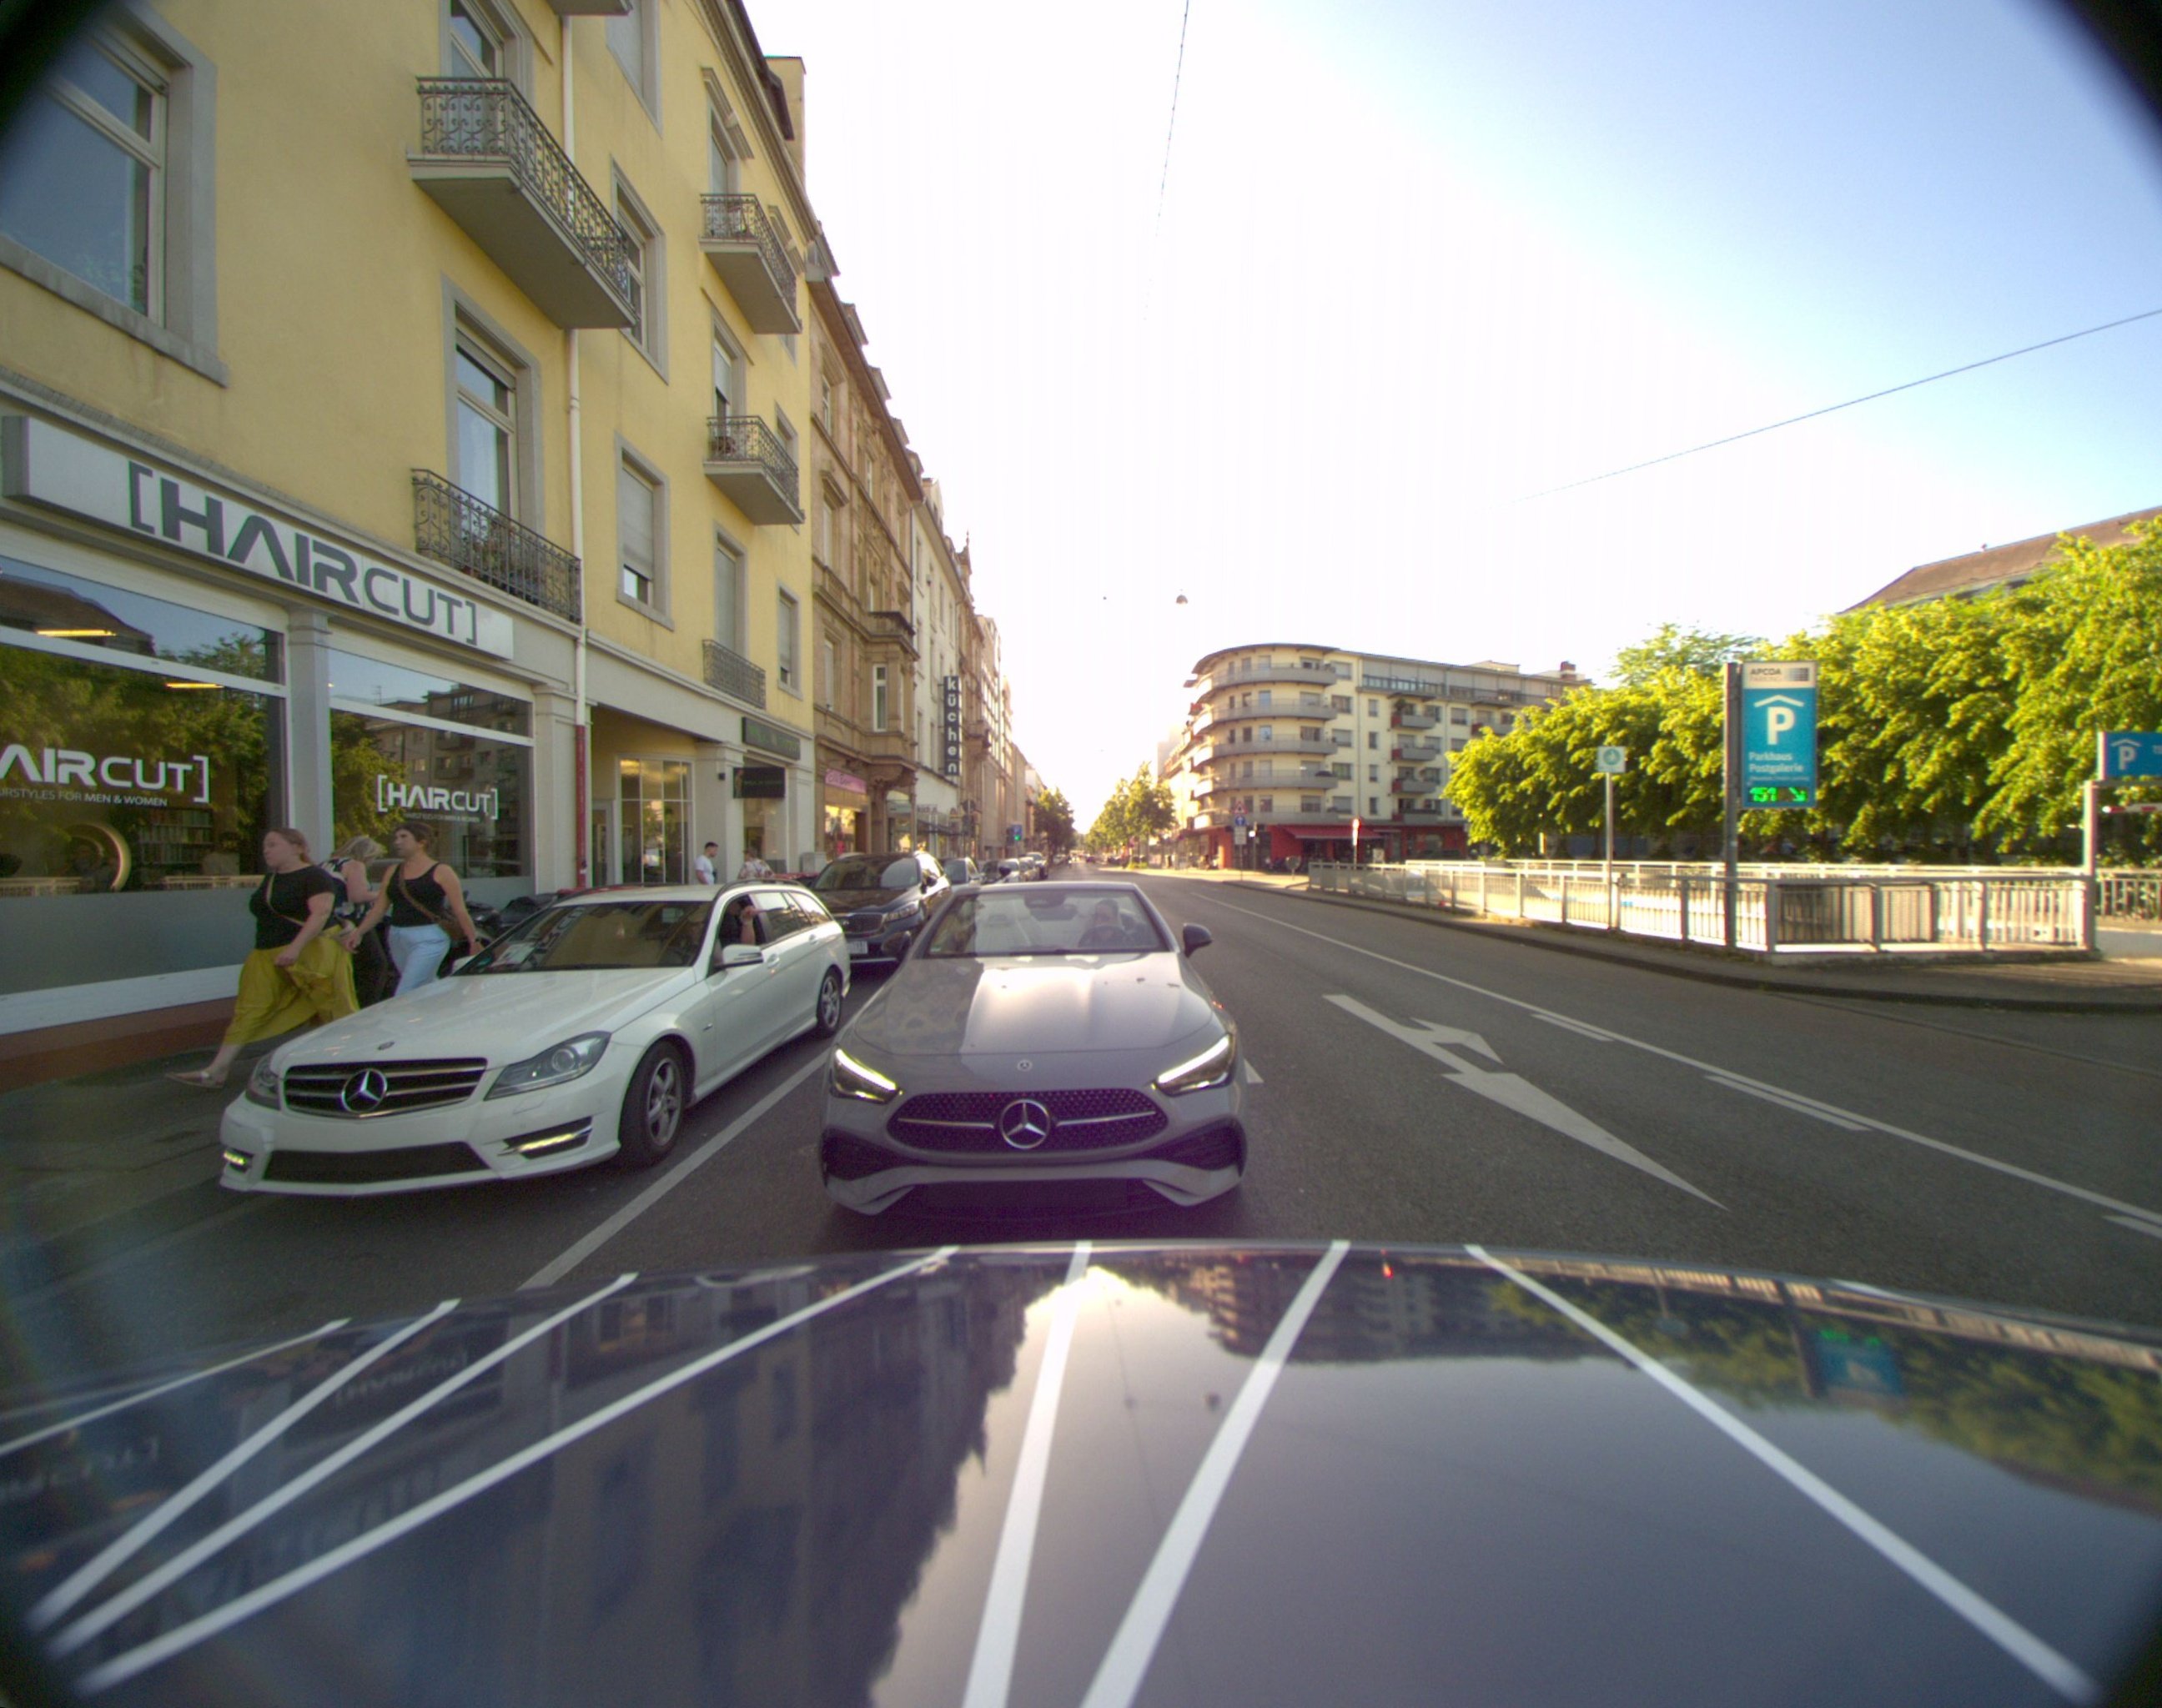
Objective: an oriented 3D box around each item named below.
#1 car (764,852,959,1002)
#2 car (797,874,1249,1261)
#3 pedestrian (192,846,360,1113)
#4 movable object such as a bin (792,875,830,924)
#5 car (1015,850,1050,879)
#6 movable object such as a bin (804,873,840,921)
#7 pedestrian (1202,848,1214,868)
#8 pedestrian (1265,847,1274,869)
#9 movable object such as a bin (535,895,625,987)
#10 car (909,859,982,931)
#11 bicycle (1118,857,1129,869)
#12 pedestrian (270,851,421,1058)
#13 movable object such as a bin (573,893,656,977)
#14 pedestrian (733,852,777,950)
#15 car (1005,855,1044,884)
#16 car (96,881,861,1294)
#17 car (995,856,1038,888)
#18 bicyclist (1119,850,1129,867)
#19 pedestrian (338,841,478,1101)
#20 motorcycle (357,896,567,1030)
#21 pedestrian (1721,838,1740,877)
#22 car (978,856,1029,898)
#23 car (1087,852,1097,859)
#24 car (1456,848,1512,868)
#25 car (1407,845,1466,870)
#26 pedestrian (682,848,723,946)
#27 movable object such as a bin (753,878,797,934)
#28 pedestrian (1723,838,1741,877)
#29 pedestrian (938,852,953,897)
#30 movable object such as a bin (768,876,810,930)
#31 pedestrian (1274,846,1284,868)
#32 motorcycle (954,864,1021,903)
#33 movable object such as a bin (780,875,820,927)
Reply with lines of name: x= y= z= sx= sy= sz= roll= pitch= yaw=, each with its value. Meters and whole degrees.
car: x=-2.982 y=0.863 z=11.351 sx=1.760 sy=1.726 sz=4.571 roll=-1 pitch=0 yaw=-3
car: x=-0.231 y=0.948 z=5.356 sx=1.848 sy=1.440 sz=4.373 roll=-1 pitch=0 yaw=0
pedestrian: x=-5.255 y=0.768 z=4.999 sx=0.619 sy=1.623 sz=0.462 roll=-2 pitch=1 yaw=-32
movable object such as a bin: x=-6.069 y=1.012 z=17.097 sx=0.606 sy=1.060 sz=0.619 roll=2 pitch=1 yaw=0
car: x=-3.008 y=0.637 z=47.732 sx=1.895 sy=1.680 sz=4.049 roll=-1 pitch=0 yaw=0
movable object such as a bin: x=-6.060 y=1.002 z=17.800 sx=0.606 sy=1.060 sz=0.619 roll=2 pitch=1 yaw=0
pedestrian: x=10.375 y=0.352 z=61.997 sx=0.774 sy=1.606 sz=0.696 roll=-1 pitch=1 yaw=-3
pedestrian: x=14.775 y=0.344 z=59.589 sx=0.575 sy=1.698 sz=0.642 roll=-1 pitch=1 yaw=3
movable object such as a bin: x=-6.135 y=1.050 z=9.329 sx=0.661 sy=1.035 sz=0.619 roll=2 pitch=1 yaw=3
car: x=-3.136 y=0.903 z=17.987 sx=1.275 sy=1.509 sz=2.794 roll=-1 pitch=0 yaw=-2
bicycle: x=4.137 y=0.860 z=73.540 sx=0.713 sy=1.205 sz=1.872 roll=-2 pitch=0 yaw=-6
pedestrian: x=-5.978 y=0.787 z=6.205 sx=0.698 sy=1.623 sz=0.532 roll=0 pitch=1 yaw=-2
movable object such as a bin: x=-6.098 y=1.045 z=9.952 sx=0.669 sy=1.019 sz=0.619 roll=2 pitch=1 yaw=3
pedestrian: x=-5.666 y=0.799 z=13.201 sx=0.594 sy=1.651 sz=0.450 roll=0 pitch=1 yaw=-41
car: x=-3.002 y=0.813 z=41.103 sx=1.737 sy=1.409 sz=3.802 roll=-1 pitch=0 yaw=0
car: x=-3.065 y=1.024 z=5.294 sx=1.743 sy=1.438 sz=4.463 roll=-1 pitch=0 yaw=0
car: x=-3.079 y=0.847 z=36.837 sx=1.737 sy=1.409 sz=3.802 roll=-1 pitch=0 yaw=0
bicyclist: x=4.155 y=0.390 z=73.521 sx=0.713 sy=1.605 sz=0.975 roll=-2 pitch=1 yaw=-5
pedestrian: x=-4.423 y=0.732 z=5.023 sx=0.515 sy=1.623 sz=0.414 roll=-2 pitch=1 yaw=-16
motorcycle: x=-6.255 y=1.036 z=7.851 sx=0.551 sy=1.085 sz=2.009 roll=0 pitch=0 yaw=-1
pedestrian: x=30.336 y=0.145 z=35.489 sx=0.602 sy=1.782 sz=0.581 roll=-3 pitch=2 yaw=-45
car: x=-3.045 y=0.864 z=30.554 sx=1.737 sy=1.509 sz=4.164 roll=-1 pitch=0 yaw=-2
car: x=2.154 y=0.298 z=146.614 sx=1.806 sy=1.388 sz=3.926 roll=-1 pitch=0 yaw=0
car: x=34.274 y=0.324 z=64.685 sx=4.300 sy=1.611 sz=1.951 roll=-2 pitch=1 yaw=-24
car: x=29.296 y=0.246 z=62.550 sx=4.432 sy=1.901 sz=1.951 roll=-2 pitch=1 yaw=-24
pedestrian: x=-6.472 y=0.717 z=13.011 sx=0.337 sy=1.651 sz=0.525 roll=1 pitch=1 yaw=31
movable object such as a bin: x=-6.115 y=1.022 z=15.203 sx=0.606 sy=1.060 sz=0.619 roll=2 pitch=1 yaw=0
pedestrian: x=29.895 y=0.166 z=34.899 sx=0.602 sy=1.782 sz=0.581 roll=-3 pitch=2 yaw=-45
pedestrian: x=-5.276 y=0.802 z=29.690 sx=0.434 sy=1.752 sz=0.481 roll=-2 pitch=1 yaw=1
movable object such as a bin: x=-6.092 y=1.014 z=15.850 sx=0.606 sy=1.060 sz=0.619 roll=2 pitch=1 yaw=0
pedestrian: x=15.478 y=0.228 z=59.355 sx=0.575 sy=1.698 sz=0.642 roll=-1 pitch=1 yaw=3
motorcycle: x=-3.238 y=1.008 z=26.525 sx=2.178 sy=1.272 sz=0.866 roll=-2 pitch=1 yaw=-42
movable object such as a bin: x=-6.080 y=1.007 z=16.464 sx=0.606 sy=1.060 sz=0.619 roll=2 pitch=1 yaw=0
